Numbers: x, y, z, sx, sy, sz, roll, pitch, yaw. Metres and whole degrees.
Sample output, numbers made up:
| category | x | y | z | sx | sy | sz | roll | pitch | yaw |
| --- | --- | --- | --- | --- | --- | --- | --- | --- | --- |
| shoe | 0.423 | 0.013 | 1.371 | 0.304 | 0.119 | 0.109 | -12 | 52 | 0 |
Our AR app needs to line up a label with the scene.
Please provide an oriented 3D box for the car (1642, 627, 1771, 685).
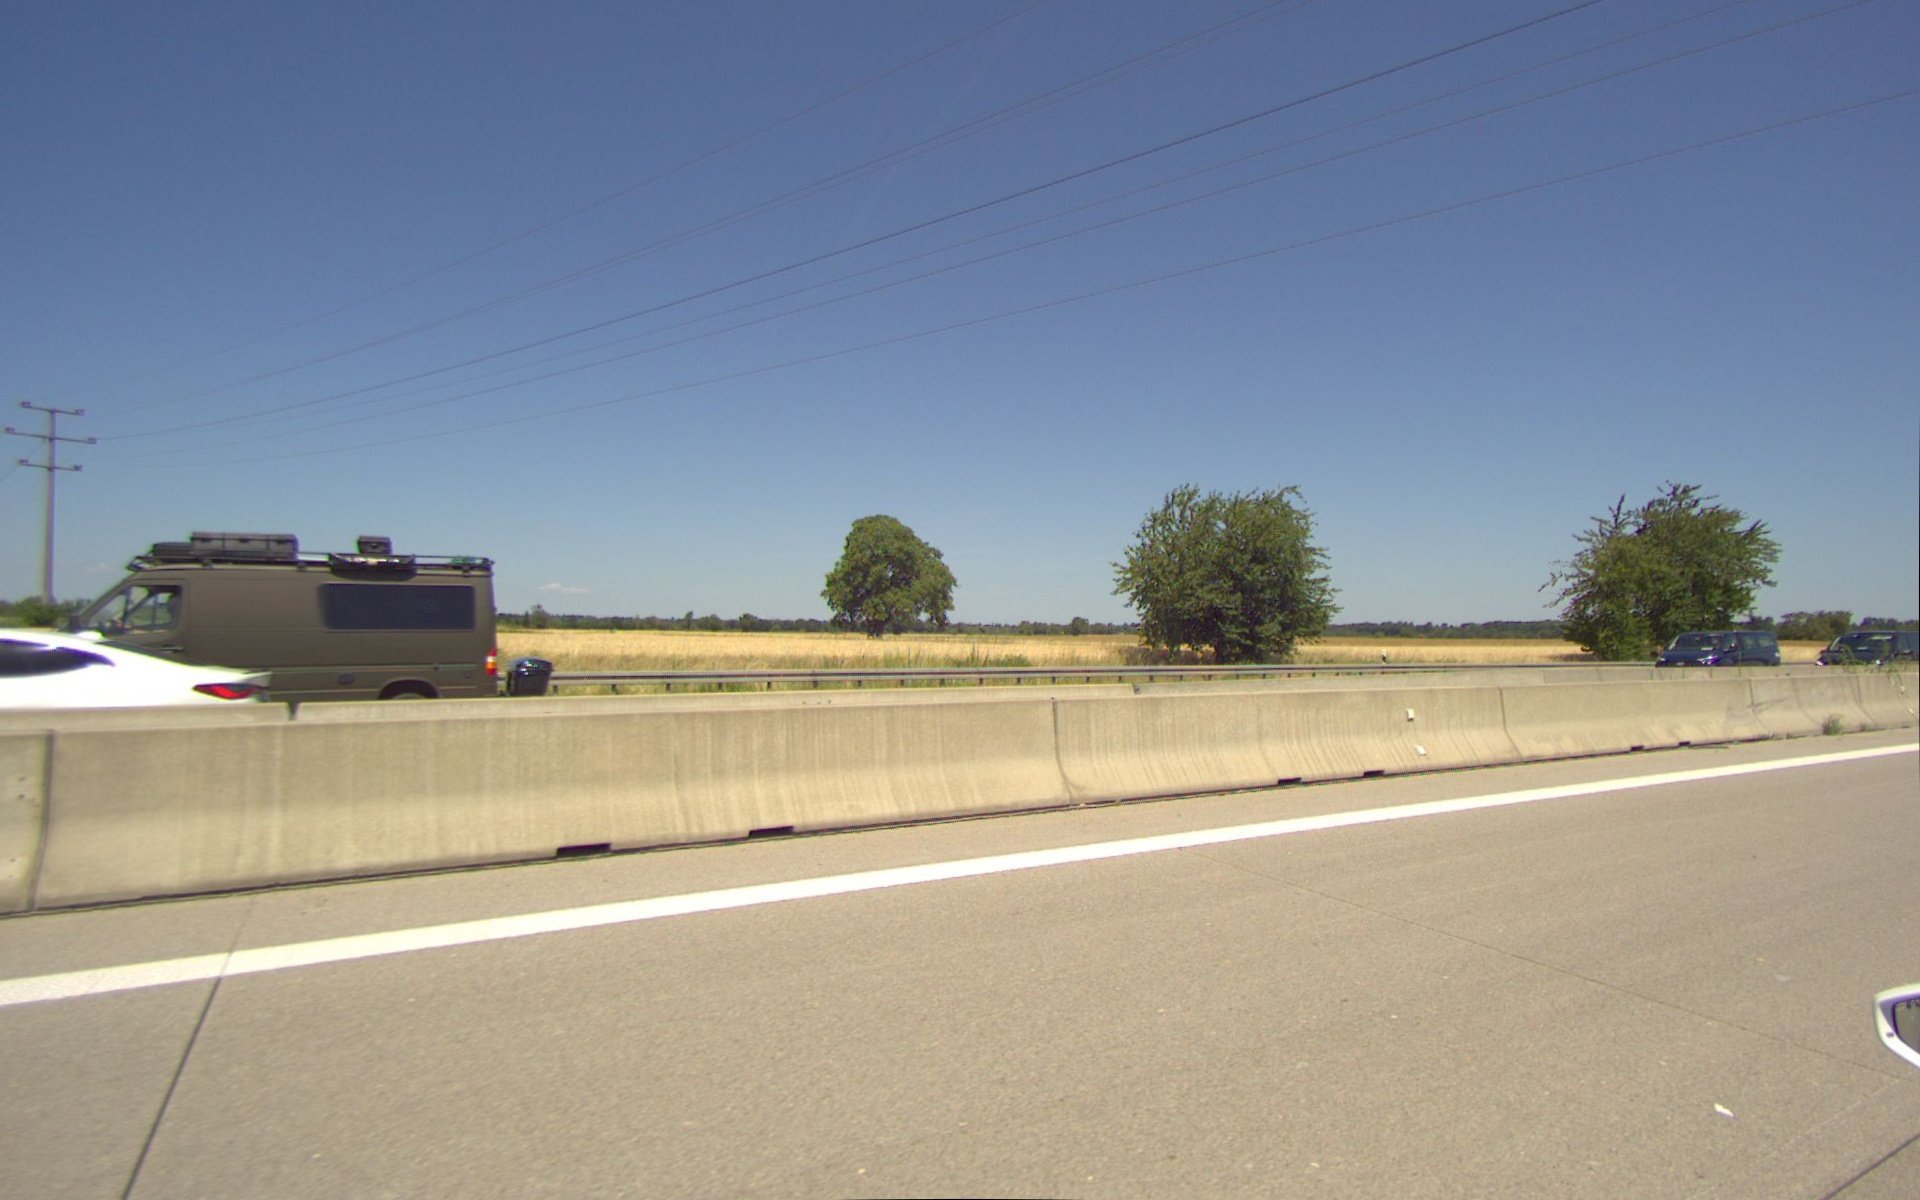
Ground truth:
| category | x | y | z | sx | sy | sz | roll | pitch | yaw |
| --- | --- | --- | --- | --- | --- | --- | --- | --- | --- |
| car | 25.799 | 1.916 | 34.691 | 3.952 | 1.814 | 2.160 | 2 | 0 | -30 |

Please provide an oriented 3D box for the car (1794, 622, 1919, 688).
| category | x | y | z | sx | sy | sz | roll | pitch | yaw |
| --- | --- | --- | --- | --- | --- | --- | --- | --- | --- |
| car | 28.341 | 1.675 | 31.085 | 5.755 | 1.850 | 1.984 | 2 | 0 | -30 |

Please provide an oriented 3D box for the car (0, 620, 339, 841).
| category | x | y | z | sx | sy | sz | roll | pitch | yaw |
| --- | --- | --- | --- | --- | --- | --- | --- | --- | --- |
| car | -8.267 | 1.033 | 8.487 | 5.049 | 1.674 | 1.863 | 2 | 0 | -31 |

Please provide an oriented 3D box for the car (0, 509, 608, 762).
| category | x | y | z | sx | sy | sz | roll | pitch | yaw |
| --- | --- | --- | --- | --- | --- | --- | --- | --- | --- |
| car | -8.535 | 0.467 | 13.726 | 6.710 | 2.823 | 2.237 | 2 | 0 | -30 |
